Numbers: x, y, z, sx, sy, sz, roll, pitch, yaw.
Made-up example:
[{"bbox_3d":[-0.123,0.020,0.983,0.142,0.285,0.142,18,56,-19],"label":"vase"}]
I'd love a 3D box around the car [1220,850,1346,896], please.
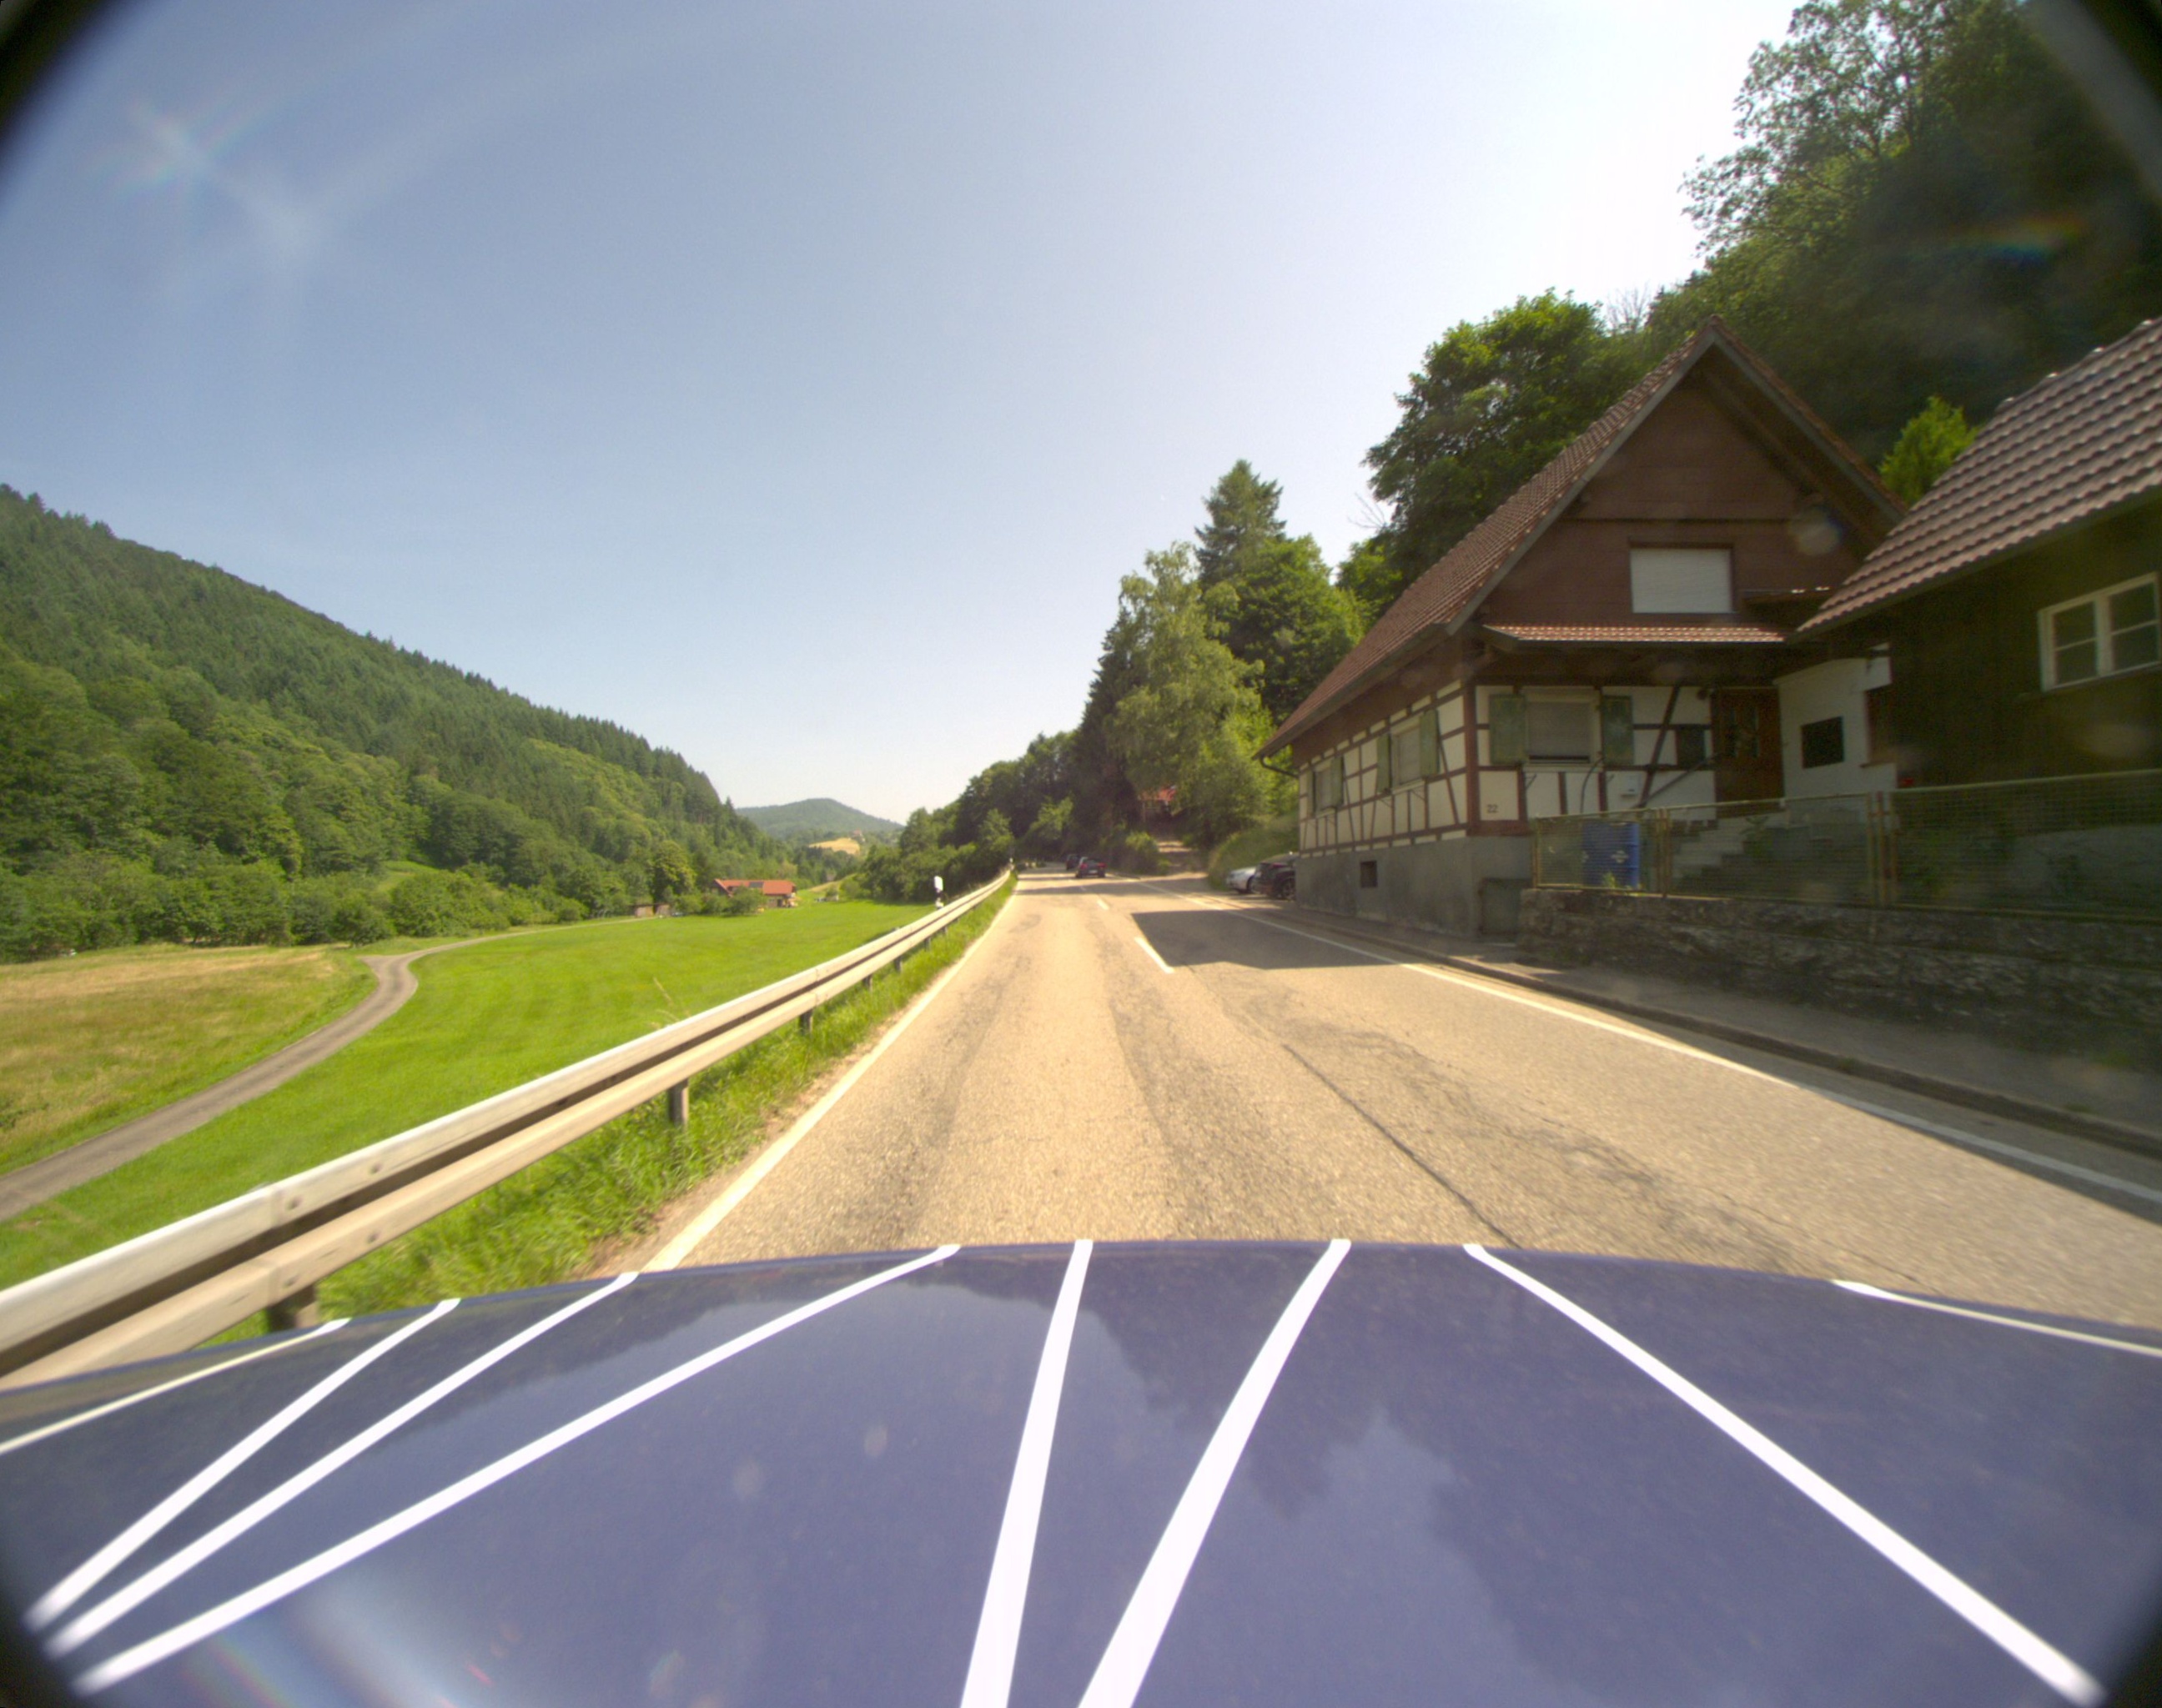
[{"bbox_3d":[6.979,0.617,26.501,3.827,1.409,1.856,-2,1,-5],"label":"car"}]

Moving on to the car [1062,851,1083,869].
[{"bbox_3d":[-0.885,0.580,77.666,1.894,1.635,4.255,-2,1,-4],"label":"car"}]

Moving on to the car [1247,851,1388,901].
[{"bbox_3d":[7.374,0.662,23.896,3.827,1.425,1.862,-1,1,-5],"label":"car"}]

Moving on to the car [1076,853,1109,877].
[{"bbox_3d":[0.725,0.701,50.339,1.770,1.388,4.142,-3,1,-5],"label":"car"}]

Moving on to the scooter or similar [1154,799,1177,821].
[{"bbox_3d":[9.304,-4.863,84.038,1.982,2.015,4.405,-6,1,2],"label":"scooter or similar"}]
